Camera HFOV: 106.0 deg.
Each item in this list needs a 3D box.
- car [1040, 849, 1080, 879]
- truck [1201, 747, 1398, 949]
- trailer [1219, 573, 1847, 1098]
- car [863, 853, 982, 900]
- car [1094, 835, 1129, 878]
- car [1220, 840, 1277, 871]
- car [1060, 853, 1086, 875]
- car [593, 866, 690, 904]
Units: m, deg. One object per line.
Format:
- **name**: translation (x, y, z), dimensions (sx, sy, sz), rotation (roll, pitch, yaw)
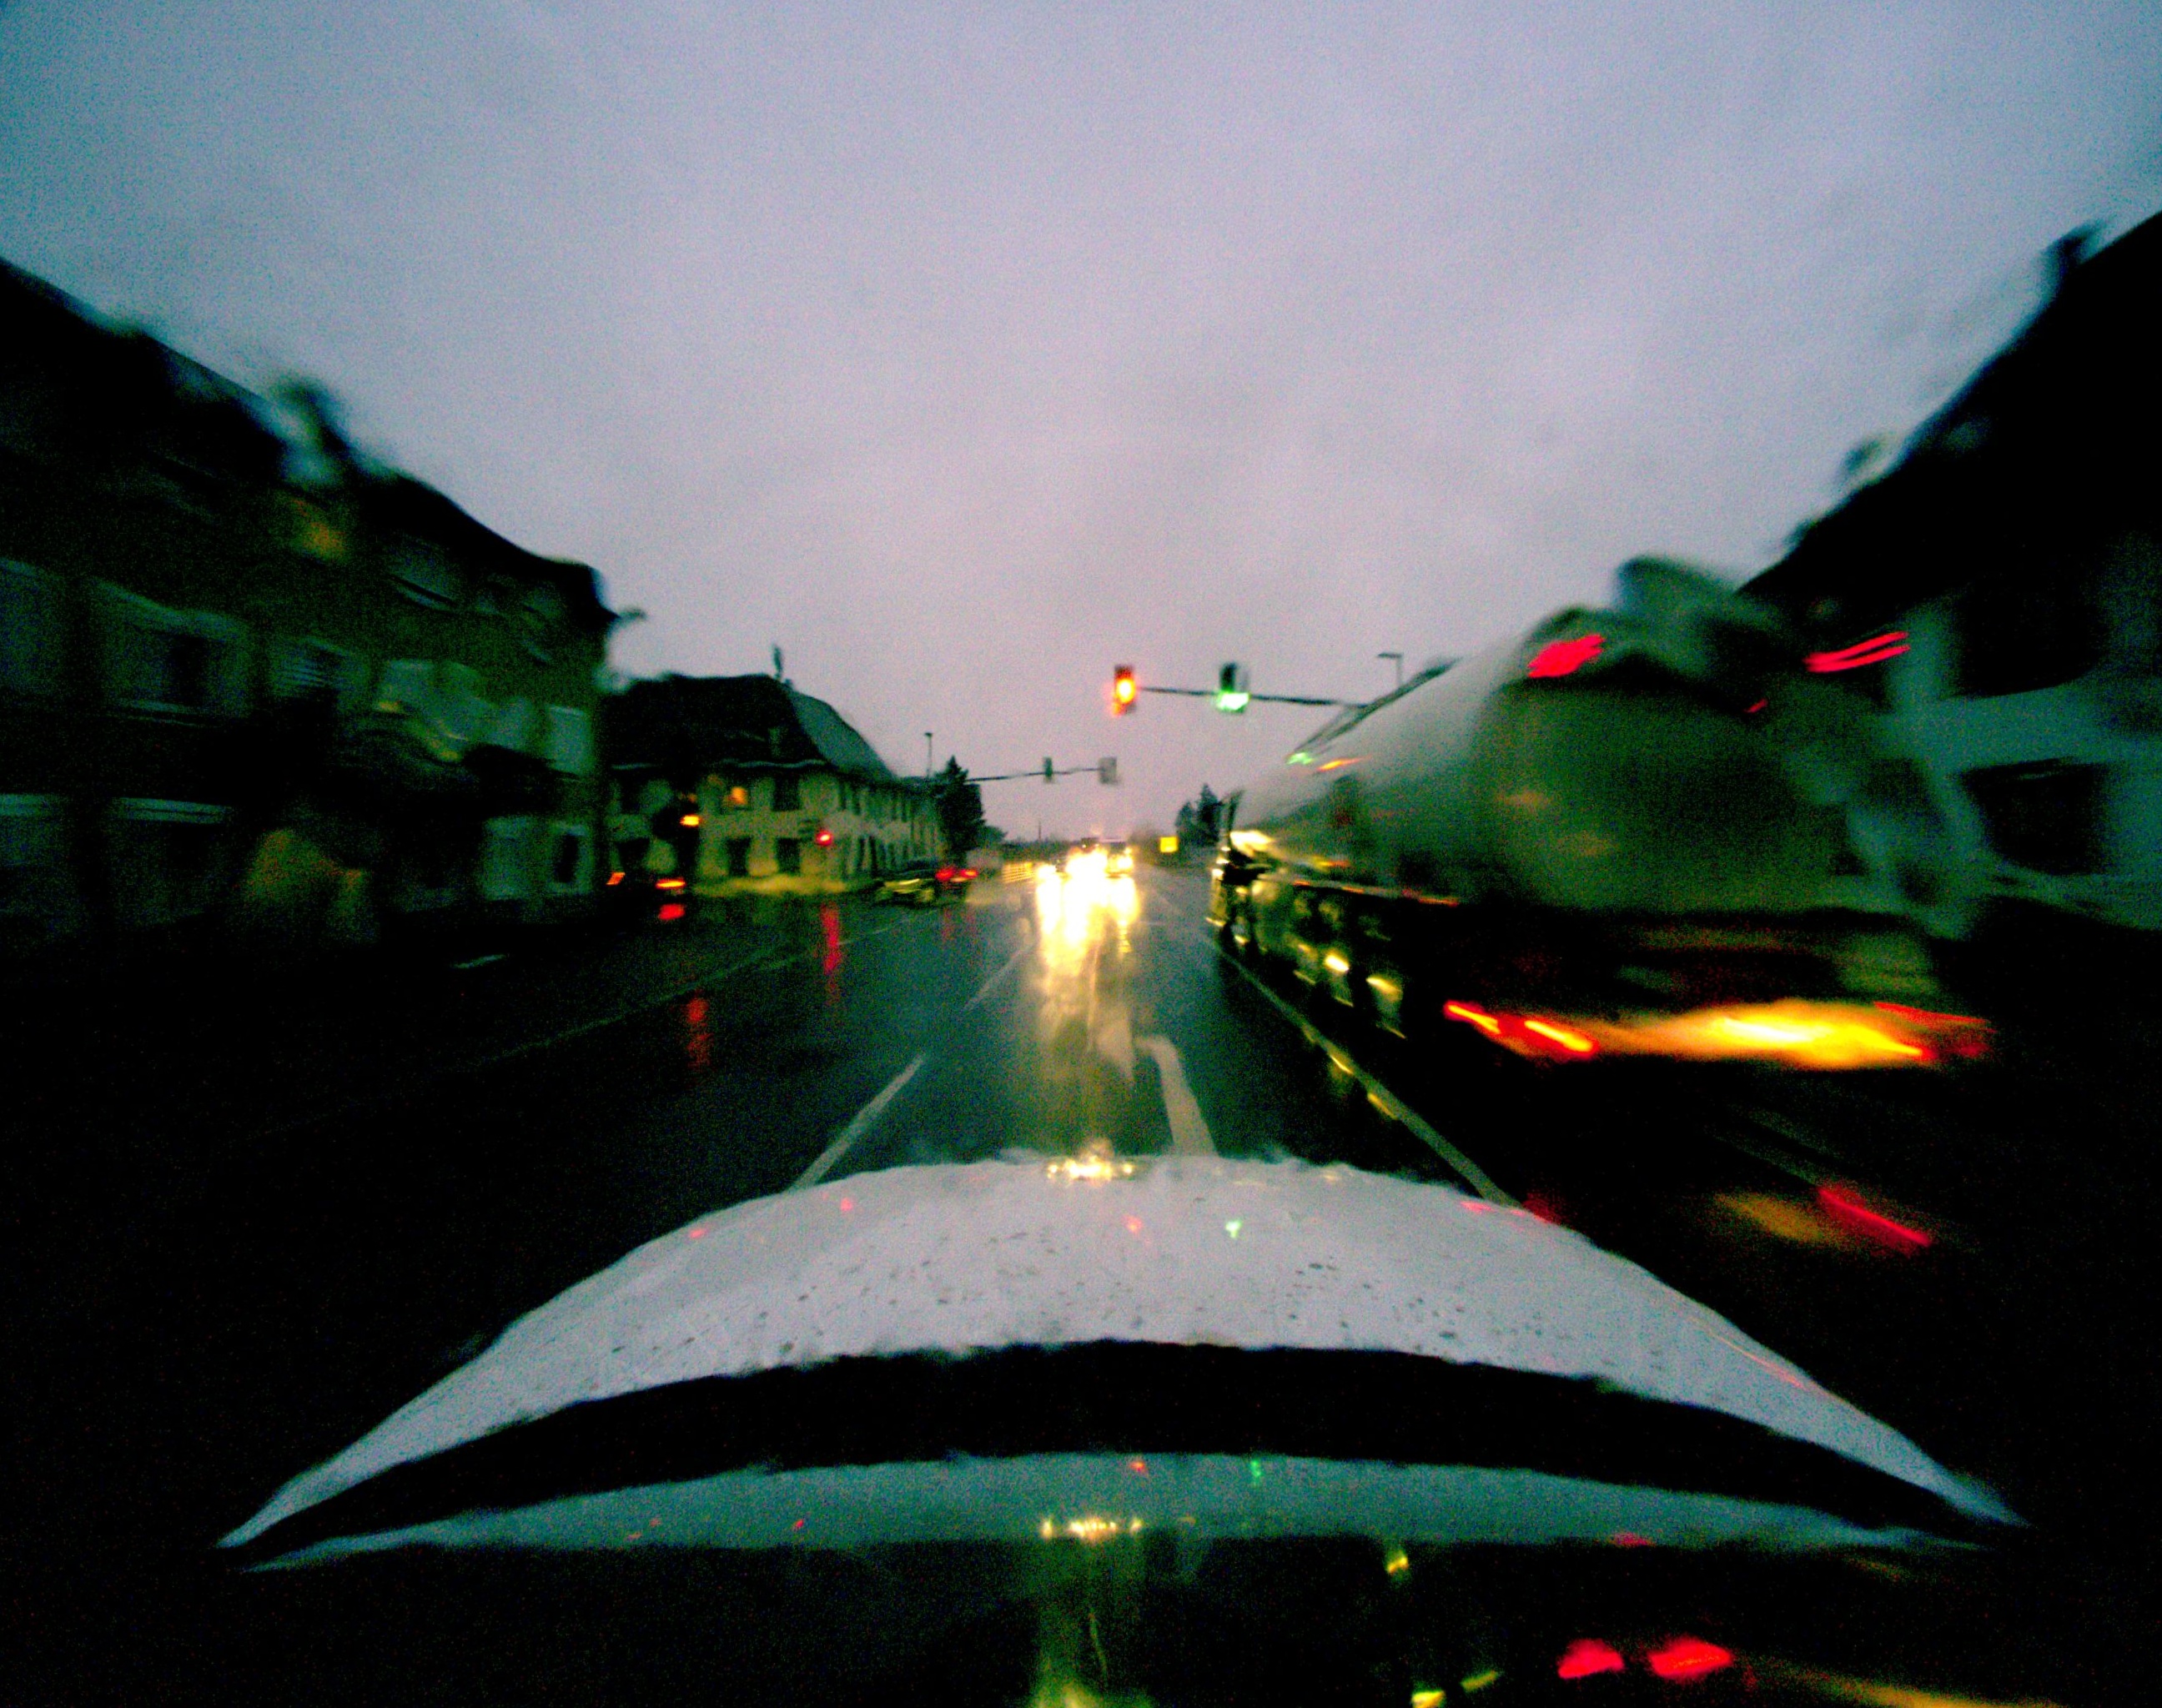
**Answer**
- **car**: translation (-1.306, 0.599, 51.711), dimensions (1.984, 1.746, 4.006), rotation (-3, 0, 5)
- **truck**: translation (3.963, -0.088, 16.222), dimensions (2.452, 3.230, 6.276), rotation (0, 0, 2)
- **trailer**: translation (3.713, -0.108, 10.492), dimensions (2.478, 3.240, 10.875), rotation (0, 0, 3)
- **car**: translation (-5.937, 0.824, 30.110), dimensions (2.066, 1.573, 4.644), rotation (-2, 0, -45)
- **car**: translation (2.154, 0.163, 58.535), dimensions (2.392, 2.892, 6.252), rotation (1, 0, 1)
- **car**: translation (17.077, 0.191, 83.115), dimensions (5.244, 2.870, 1.774), rotation (-3, 0, -5)
- **car**: translation (-0.657, 0.809, 67.473), dimensions (1.713, 1.723, 3.933), rotation (-2, -1, 5)
- **car**: translation (-18.365, 1.275, 34.156), dimensions (3.210, 1.508, 1.547), rotation (0, 0, -4)
